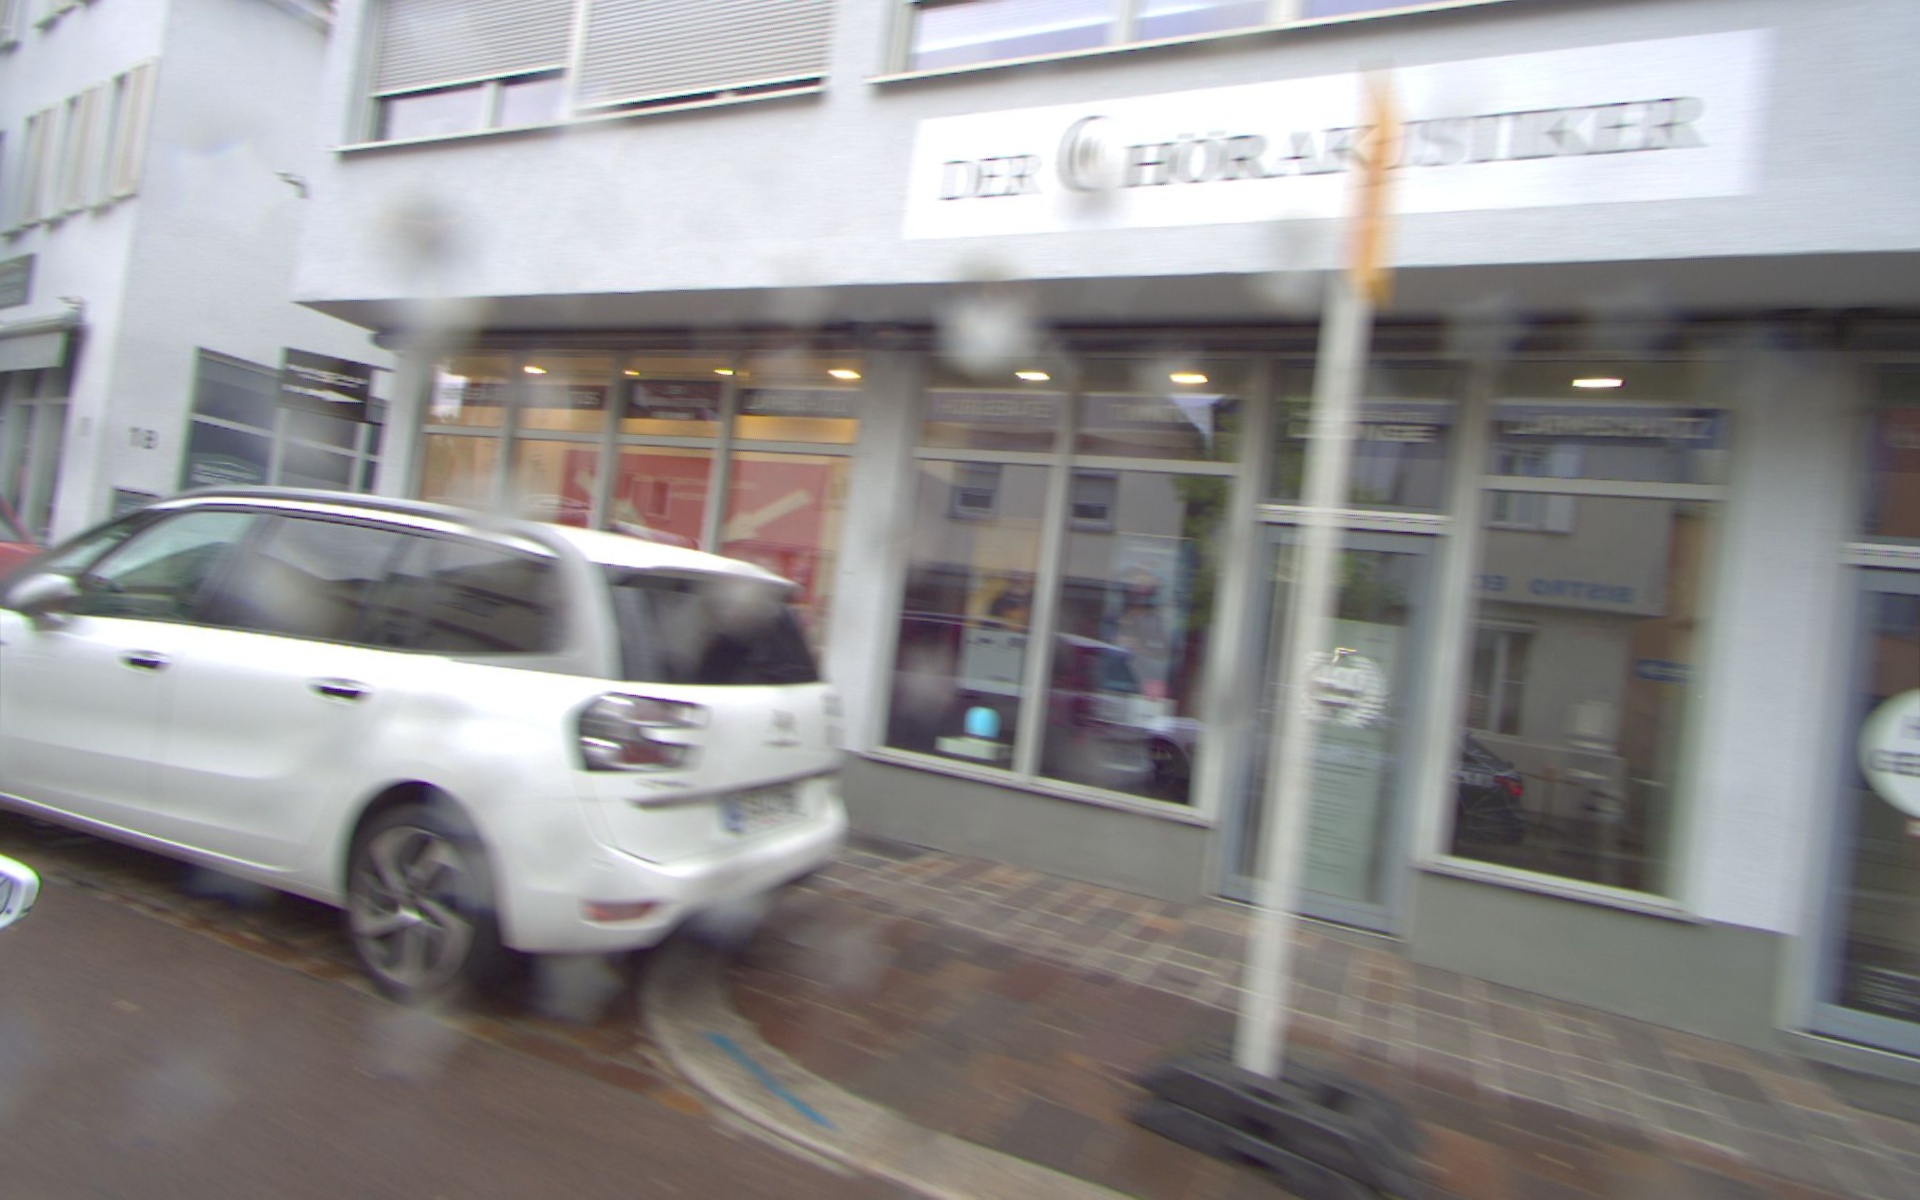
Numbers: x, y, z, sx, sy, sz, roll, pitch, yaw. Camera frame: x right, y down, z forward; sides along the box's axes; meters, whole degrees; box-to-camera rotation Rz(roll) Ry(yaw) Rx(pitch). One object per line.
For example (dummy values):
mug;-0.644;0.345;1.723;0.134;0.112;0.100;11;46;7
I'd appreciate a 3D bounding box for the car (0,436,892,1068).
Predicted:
car;-2.758;0.355;4.529;4.386;1.649;1.783;7;-2;20

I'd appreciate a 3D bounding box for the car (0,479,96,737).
car;-7.618;-0.196;6.330;3.729;1.547;1.683;7;-1;22
